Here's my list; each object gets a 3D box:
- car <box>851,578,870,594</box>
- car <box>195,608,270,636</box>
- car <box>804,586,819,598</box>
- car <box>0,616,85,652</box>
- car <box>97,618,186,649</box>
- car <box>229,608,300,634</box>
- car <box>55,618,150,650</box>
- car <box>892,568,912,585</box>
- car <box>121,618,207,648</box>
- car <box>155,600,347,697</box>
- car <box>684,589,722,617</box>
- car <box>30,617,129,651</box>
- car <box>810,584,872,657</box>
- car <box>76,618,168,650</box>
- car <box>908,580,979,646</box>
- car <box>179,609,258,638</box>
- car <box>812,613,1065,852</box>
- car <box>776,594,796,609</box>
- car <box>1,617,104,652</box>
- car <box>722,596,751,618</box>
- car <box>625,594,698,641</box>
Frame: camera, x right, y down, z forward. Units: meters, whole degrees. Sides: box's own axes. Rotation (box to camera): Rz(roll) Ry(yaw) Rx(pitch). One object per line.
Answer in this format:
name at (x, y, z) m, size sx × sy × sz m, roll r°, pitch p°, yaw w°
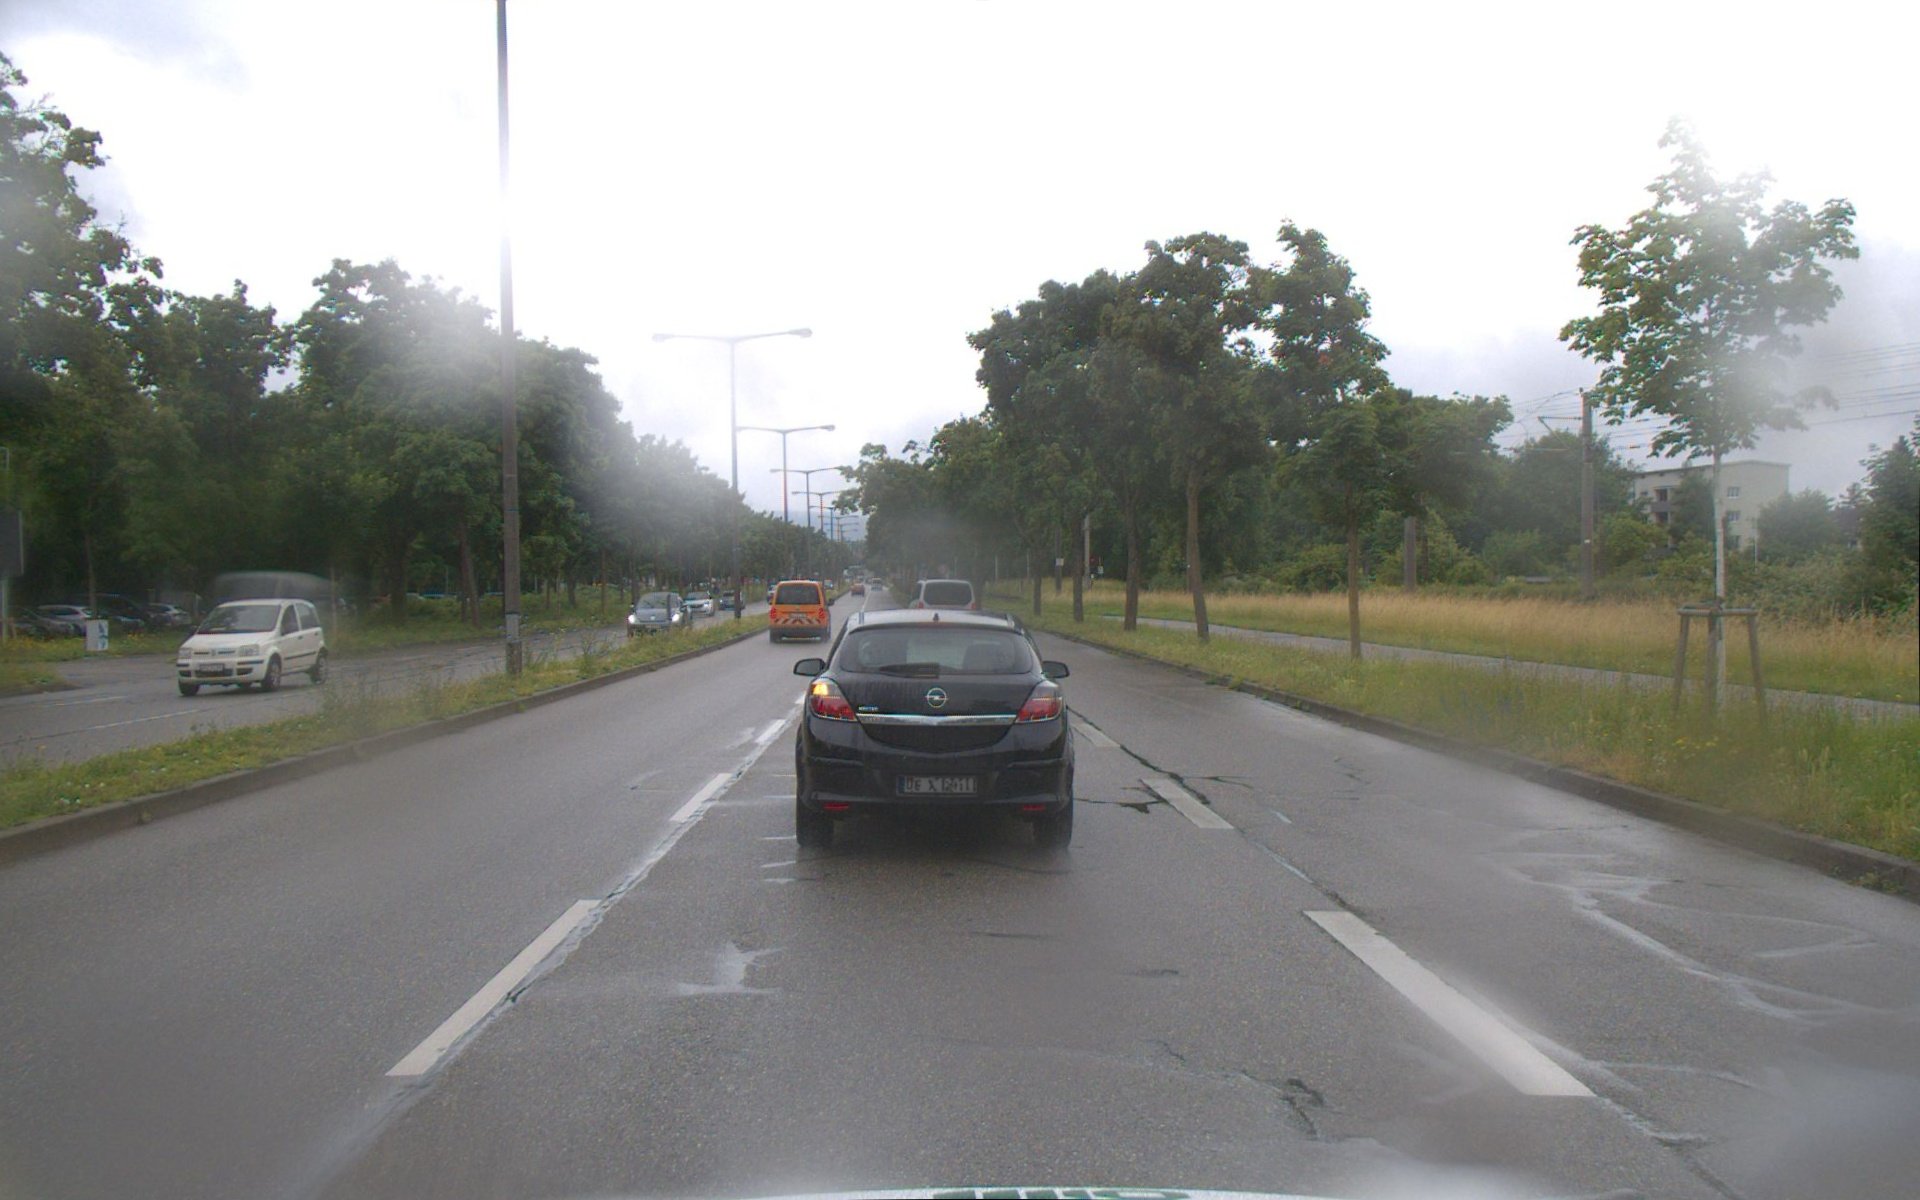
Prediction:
car at (-12.155, -1.714, 201.923) m, size 1.952 × 1.912 × 4.000 m, roll 0°, pitch -1°, yaw 1°
car at (-41.780, 1.249, 95.081) m, size 3.774 × 1.477 × 1.518 m, roll -1°, pitch 0°, yaw -17°
car at (-19.644, -1.116, 218.928) m, size 1.685 × 1.556 × 3.808 m, roll -1°, pitch 0°, yaw -1°
car at (-40.738, 1.501, 72.630) m, size 3.762 × 1.477 × 1.523 m, roll -1°, pitch 0°, yaw -7°
car at (-42.048, 1.709, 84.993) m, size 3.762 × 1.477 × 1.523 m, roll -1°, pitch 0°, yaw -7°
car at (-41.894, 1.272, 99.668) m, size 3.774 × 1.477 × 1.518 m, roll -1°, pitch 0°, yaw -17°
car at (-41.419, 1.637, 79.960) m, size 3.762 × 1.477 × 1.523 m, roll -1°, pitch 0°, yaw -7°
car at (-7.460, -3.029, 213.197) m, size 2.465 × 2.088 × 5.291 m, roll 2°, pitch 0°, yaw -2°
car at (-42.041, 1.749, 87.404) m, size 3.762 × 1.477 × 1.523 m, roll -1°, pitch 0°, yaw -7°
car at (-12.405, 0.808, 29.220) m, size 1.648 × 1.581 × 4.000 m, roll 1°, pitch 0°, yaw 0°
car at (-15.091, 0.170, 97.177) m, size 1.685 × 1.556 × 3.808 m, roll -1°, pitch 1°, yaw -1°
car at (-41.287, 1.587, 77.634) m, size 3.762 × 1.477 × 1.523 m, roll -1°, pitch 0°, yaw -7°
car at (-3.671, 0.618, 50.522) m, size 1.701 × 2.054 × 4.844 m, roll 2°, pitch -1°, yaw -5°
car at (-41.723, 1.670, 82.417) m, size 3.762 × 1.477 × 1.523 m, roll -1°, pitch 0°, yaw -7°
car at (-0.575, 0.428, 52.959) m, size 2.018 × 2.009 × 4.604 m, roll 0°, pitch -1°, yaw -4°
car at (-41.560, 1.311, 92.718) m, size 3.770 × 1.477 × 1.519 m, roll -1°, pitch 0°, yaw -14°
car at (-0.091, 0.767, 11.302) m, size 1.433 × 1.352 × 3.758 m, roll 0°, pitch 0°, yaw 1°
car at (-17.816, 0.132, 169.645) m, size 1.685 × 1.556 × 3.808 m, roll -1°, pitch 0°, yaw -1°
car at (-41.141, 1.535, 75.031) m, size 3.762 × 1.477 × 1.523 m, roll -1°, pitch 0°, yaw -7°
car at (-16.370, 0.526, 121.474) m, size 1.685 × 1.556 × 3.808 m, roll -1°, pitch 0°, yaw -1°
car at (-9.804, 0.553, 54.574) m, size 1.790 × 1.475 × 3.808 m, roll -1°, pitch 0°, yaw -1°
